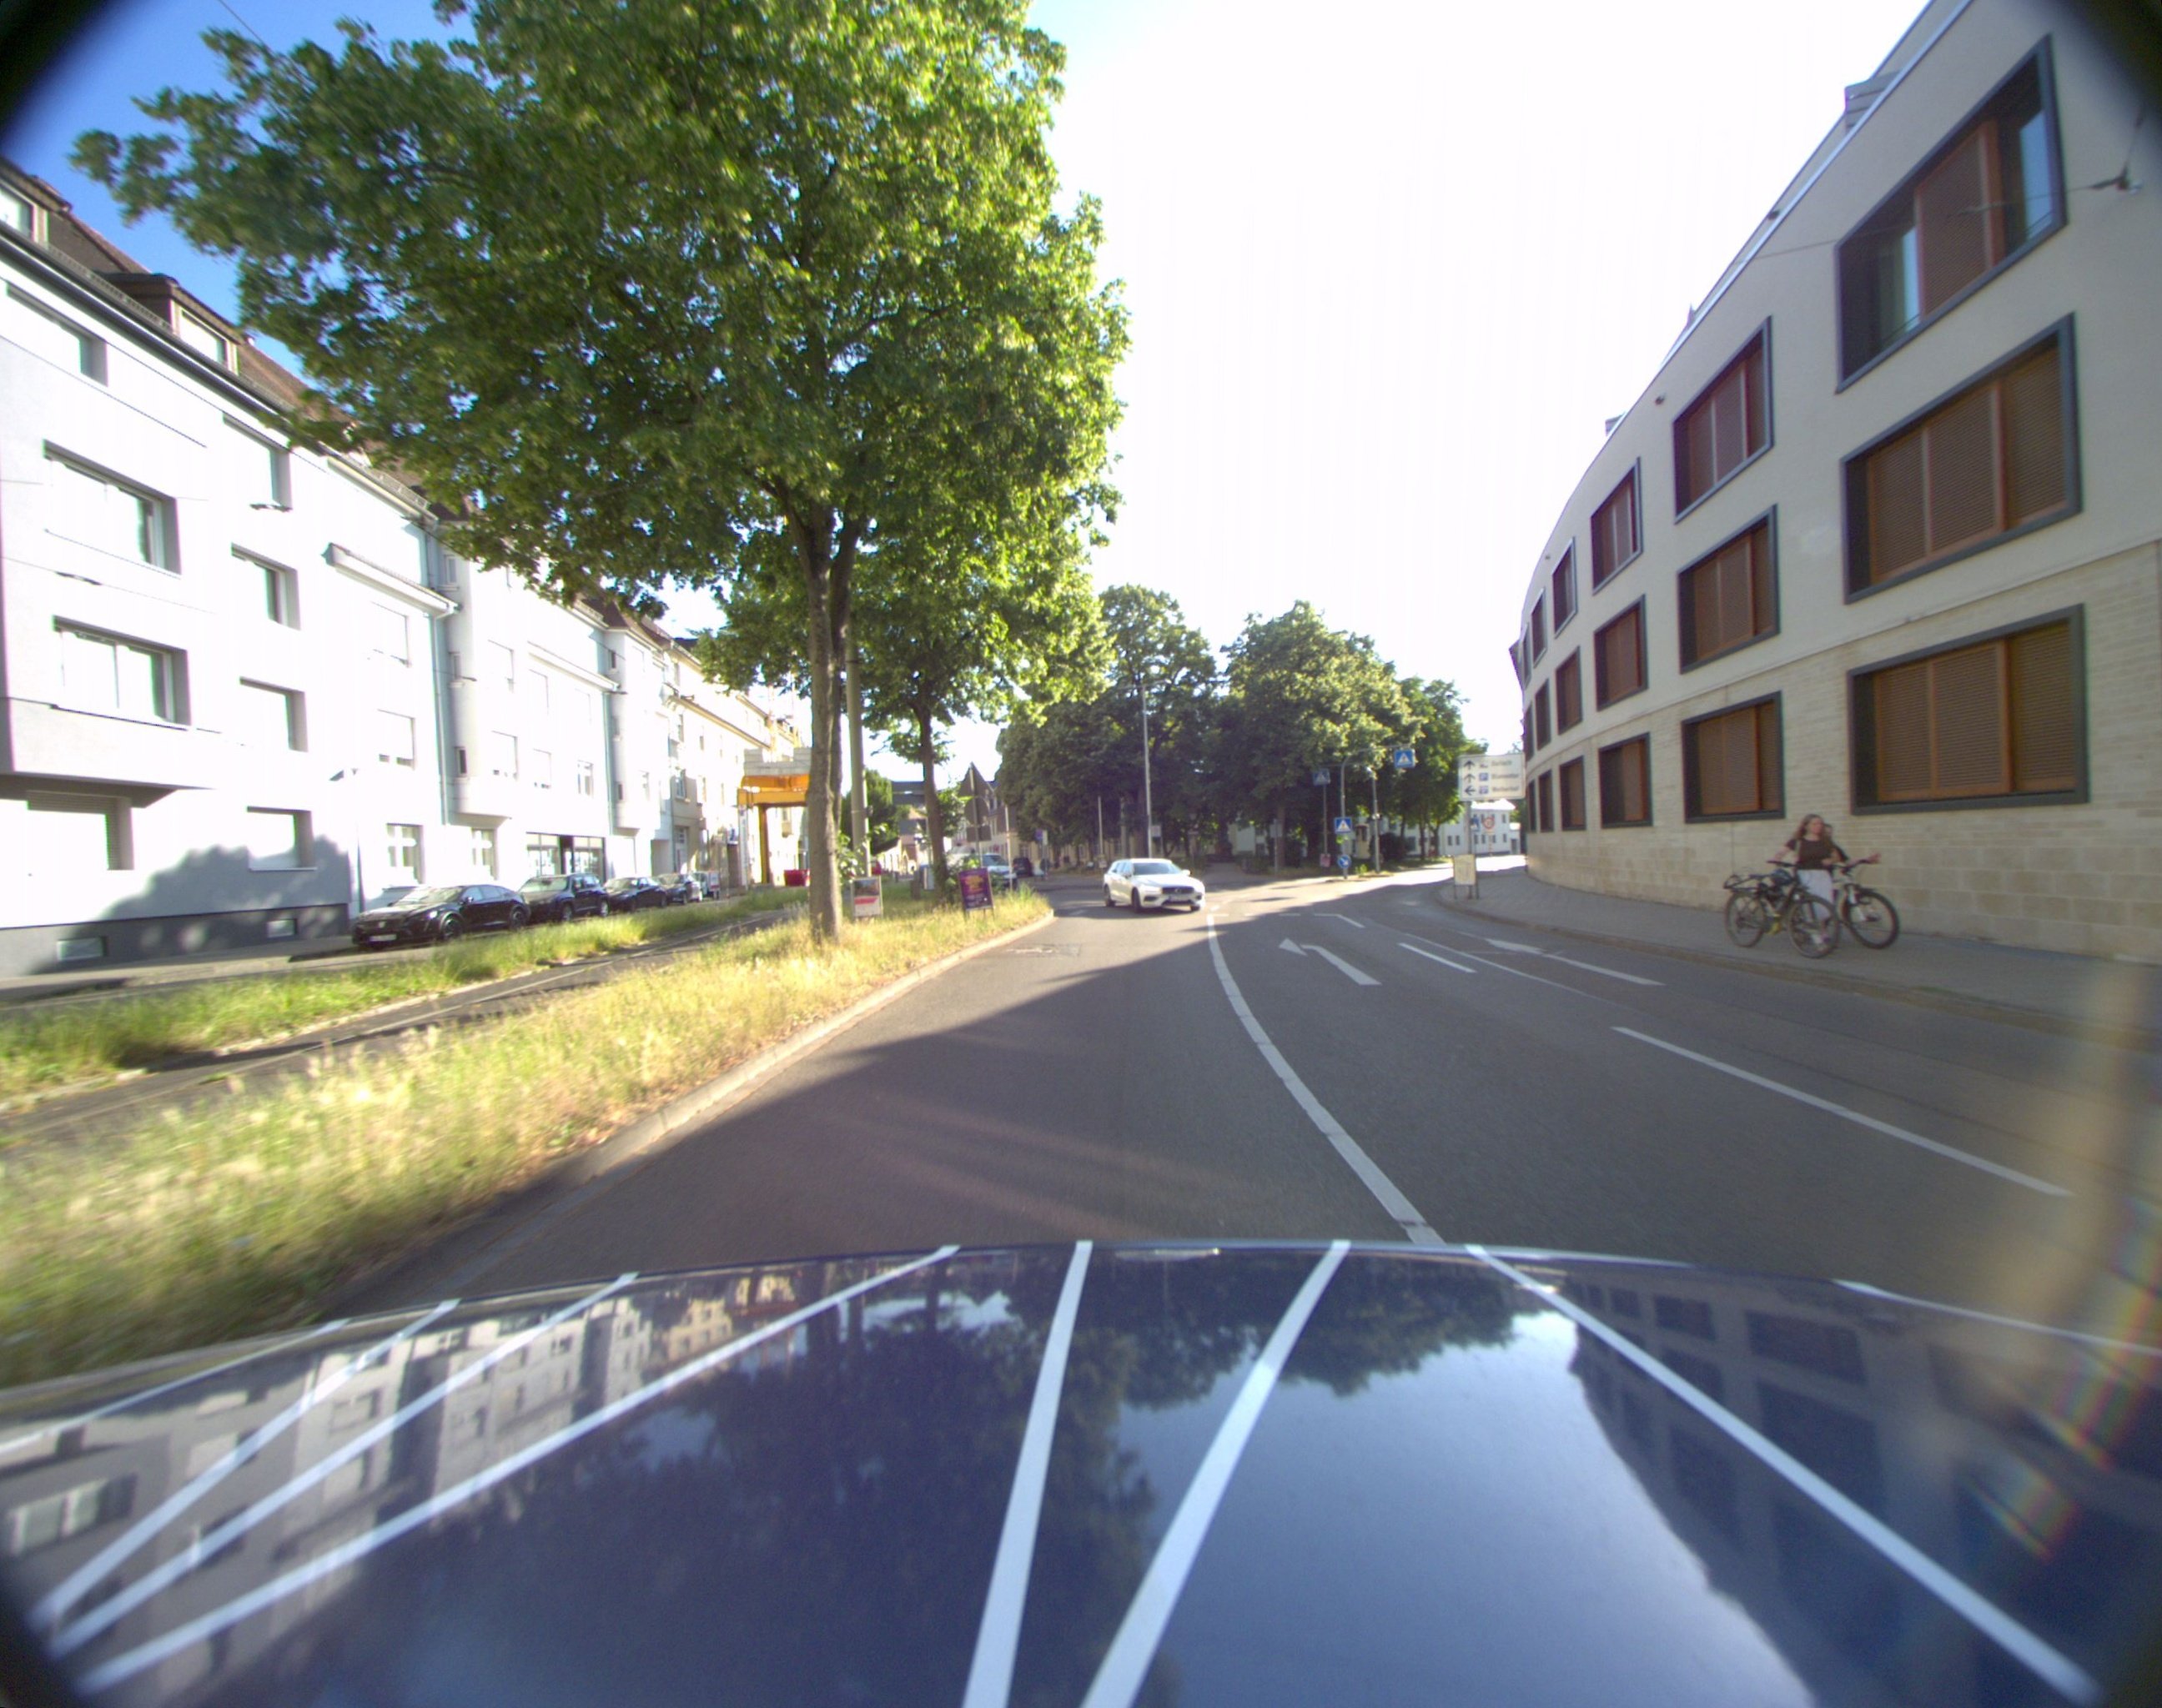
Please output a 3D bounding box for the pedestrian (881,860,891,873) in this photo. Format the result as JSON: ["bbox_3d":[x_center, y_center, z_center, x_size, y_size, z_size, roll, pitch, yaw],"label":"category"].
[{"bbox_3d":[-30.050,1.900,117.252,1.356,2.002,1.156,-2,1,-17],"label":"pedestrian"}]

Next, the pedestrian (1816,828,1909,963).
[{"bbox_3d":[9.455,0.489,9.213,0.474,1.555,0.603,-4,0,16],"label":"pedestrian"}]

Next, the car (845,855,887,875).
[{"bbox_3d":[-22.666,1.180,80.364,4.072,1.910,1.998,-2,0,-11],"label":"car"}]

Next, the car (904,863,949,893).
[{"bbox_3d":[-8.156,1.229,39.816,2.001,1.436,4.067,-2,0,-15],"label":"car"}]

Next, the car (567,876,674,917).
[{"bbox_3d":[-17.995,1.617,29.955,2.000,1.378,4.207,-2,0,-7],"label":"car"}]

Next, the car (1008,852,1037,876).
[{"bbox_3d":[-4.838,0.777,62.200,2.000,1.783,3.997,-3,1,-8],"label":"car"}]

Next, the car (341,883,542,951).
[{"bbox_3d":[-16.389,1.543,19.845,2.000,1.378,4.443,-2,0,-9],"label":"car"}]

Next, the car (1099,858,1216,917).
[{"bbox_3d":[2.038,0.886,21.920,1.855,1.455,4.767,-2,0,-13],"label":"car"}]

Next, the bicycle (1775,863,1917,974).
[{"bbox_3d":[9.131,0.721,9.158,0.376,1.160,1.840,-3,0,18],"label":"bicycle"}]

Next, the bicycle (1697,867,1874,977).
[{"bbox_3d":[8.468,0.760,9.257,0.441,1.171,1.968,-3,-1,6],"label":"bicycle"}]

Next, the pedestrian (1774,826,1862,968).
[{"bbox_3d":[8.857,0.503,9.156,0.474,1.638,0.603,-3,0,16],"label":"pedestrian"}]

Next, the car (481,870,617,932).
[{"bbox_3d":[-17.252,1.450,24.925,2.000,1.738,4.206,-2,0,-9],"label":"car"}]

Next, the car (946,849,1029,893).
[{"bbox_3d":[-4.382,0.769,34.811,2.003,1.843,4.891,-2,0,-29],"label":"car"}]

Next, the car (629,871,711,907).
[{"bbox_3d":[-18.760,1.568,34.879,2.000,1.444,4.094,-2,0,-9],"label":"car"}]

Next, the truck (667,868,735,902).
[{"bbox_3d":[-19.871,1.591,39.946,2.000,1.576,4.094,-2,0,-9],"label":"truck"}]

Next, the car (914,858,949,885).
[{"bbox_3d":[-9.152,1.041,46.682,2.000,1.510,4.068,-2,0,-10],"label":"car"}]
